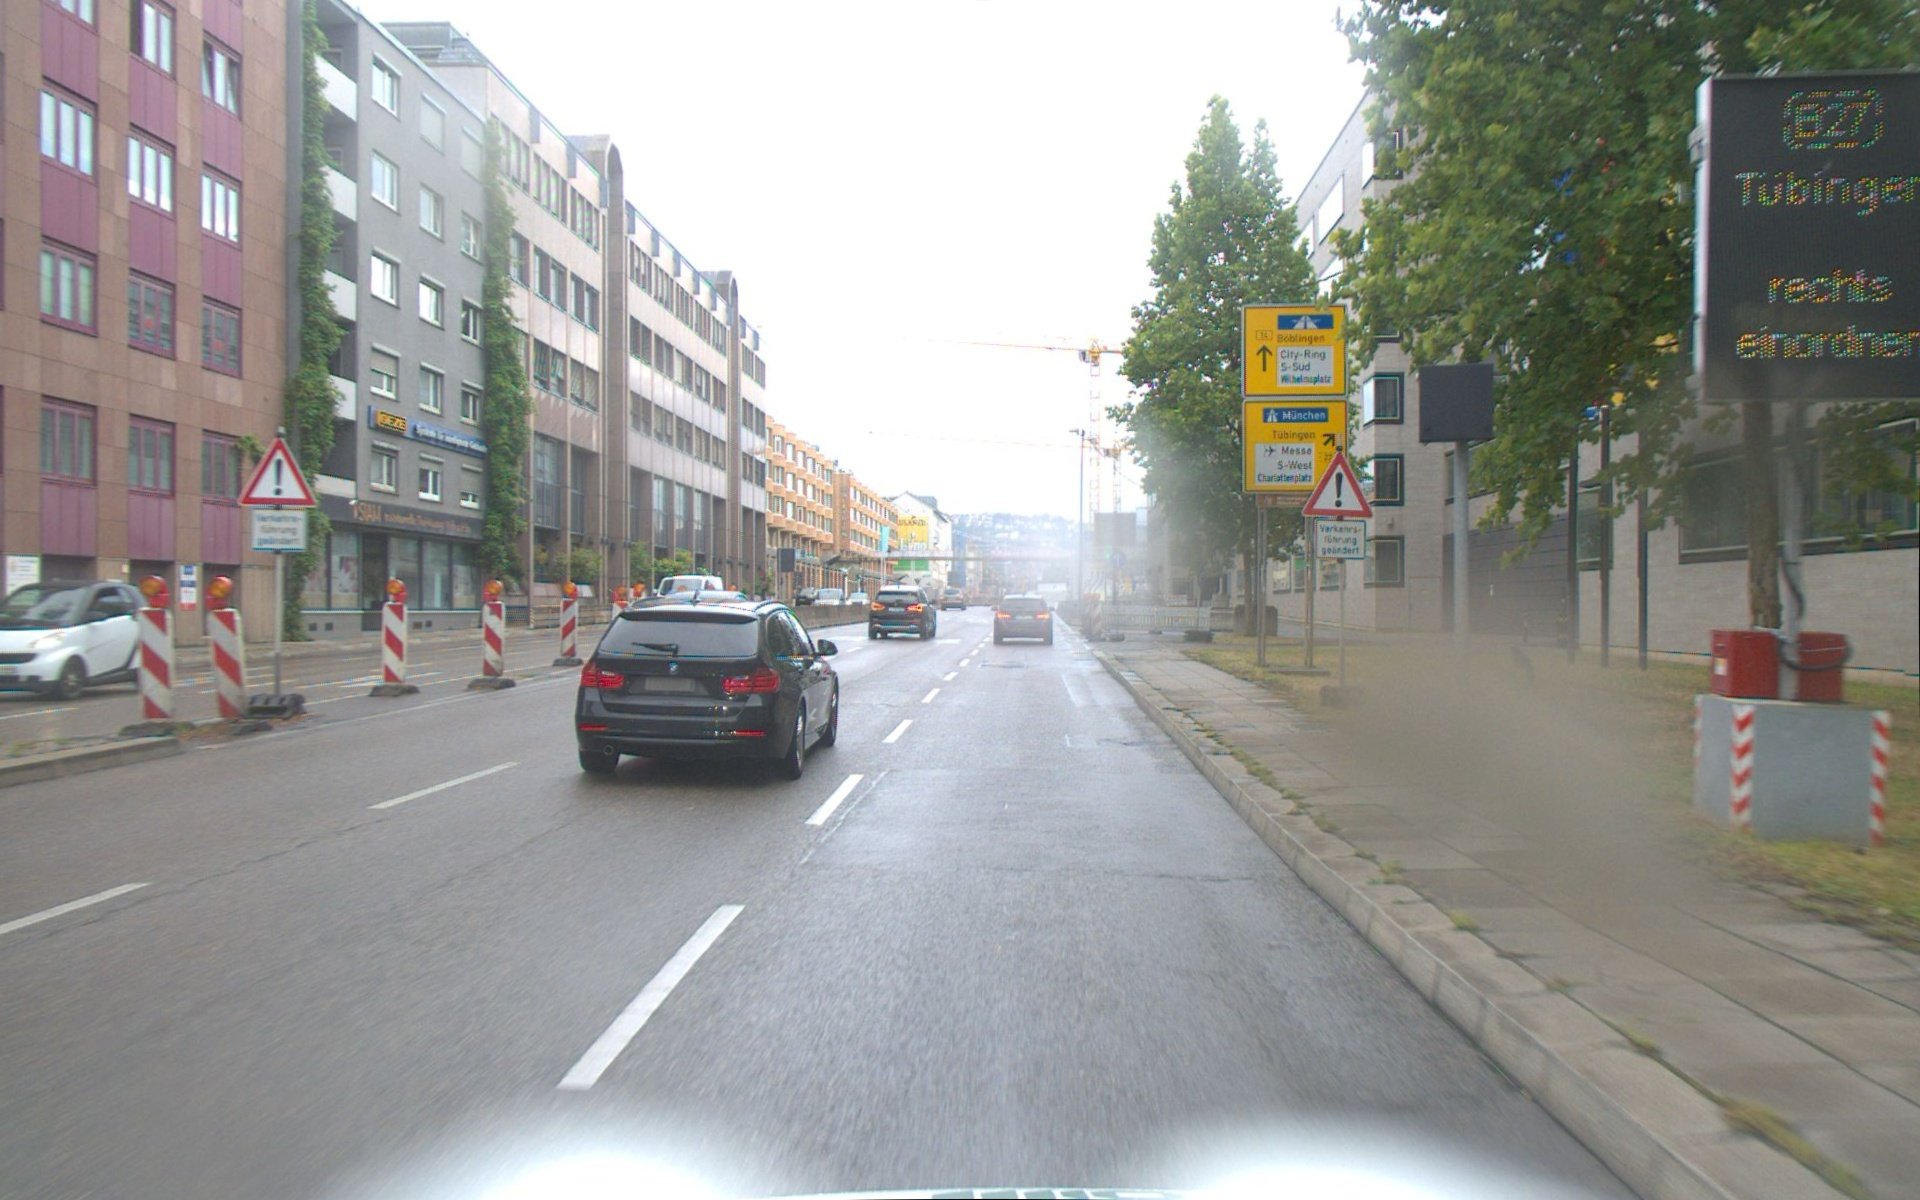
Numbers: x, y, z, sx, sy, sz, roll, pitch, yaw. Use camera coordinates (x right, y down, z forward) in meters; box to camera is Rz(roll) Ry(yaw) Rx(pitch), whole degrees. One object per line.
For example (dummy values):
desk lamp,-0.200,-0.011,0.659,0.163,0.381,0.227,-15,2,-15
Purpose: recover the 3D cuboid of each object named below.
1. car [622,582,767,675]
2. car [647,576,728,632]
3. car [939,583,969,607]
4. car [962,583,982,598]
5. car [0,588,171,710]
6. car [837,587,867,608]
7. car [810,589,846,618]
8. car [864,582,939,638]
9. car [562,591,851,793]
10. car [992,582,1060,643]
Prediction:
car,-4.453,0.454,28.347,1.754,1.451,4.384,-1,0,0
car,-10.220,0.146,62.448,1.952,2.025,5.291,-1,0,2
car,-0.473,-0.373,126.004,1.860,1.723,4.003,-1,0,6
car,1.386,-1.035,186.739,1.952,1.648,4.765,-1,0,3
car,-12.112,0.620,22.102,1.523,1.510,2.951,-1,0,5
car,-8.077,-0.171,123.736,1.822,1.560,4.231,-1,0,1
car,-8.366,0.199,105.279,1.685,1.801,4.427,-1,0,3
car,-1.834,0.307,52.861,1.860,1.723,4.003,-1,0,6
car,-2.036,0.671,14.608,1.754,1.451,4.614,1,0,1
car,2.026,0.351,50.067,1.860,1.723,4.002,1,0,4
